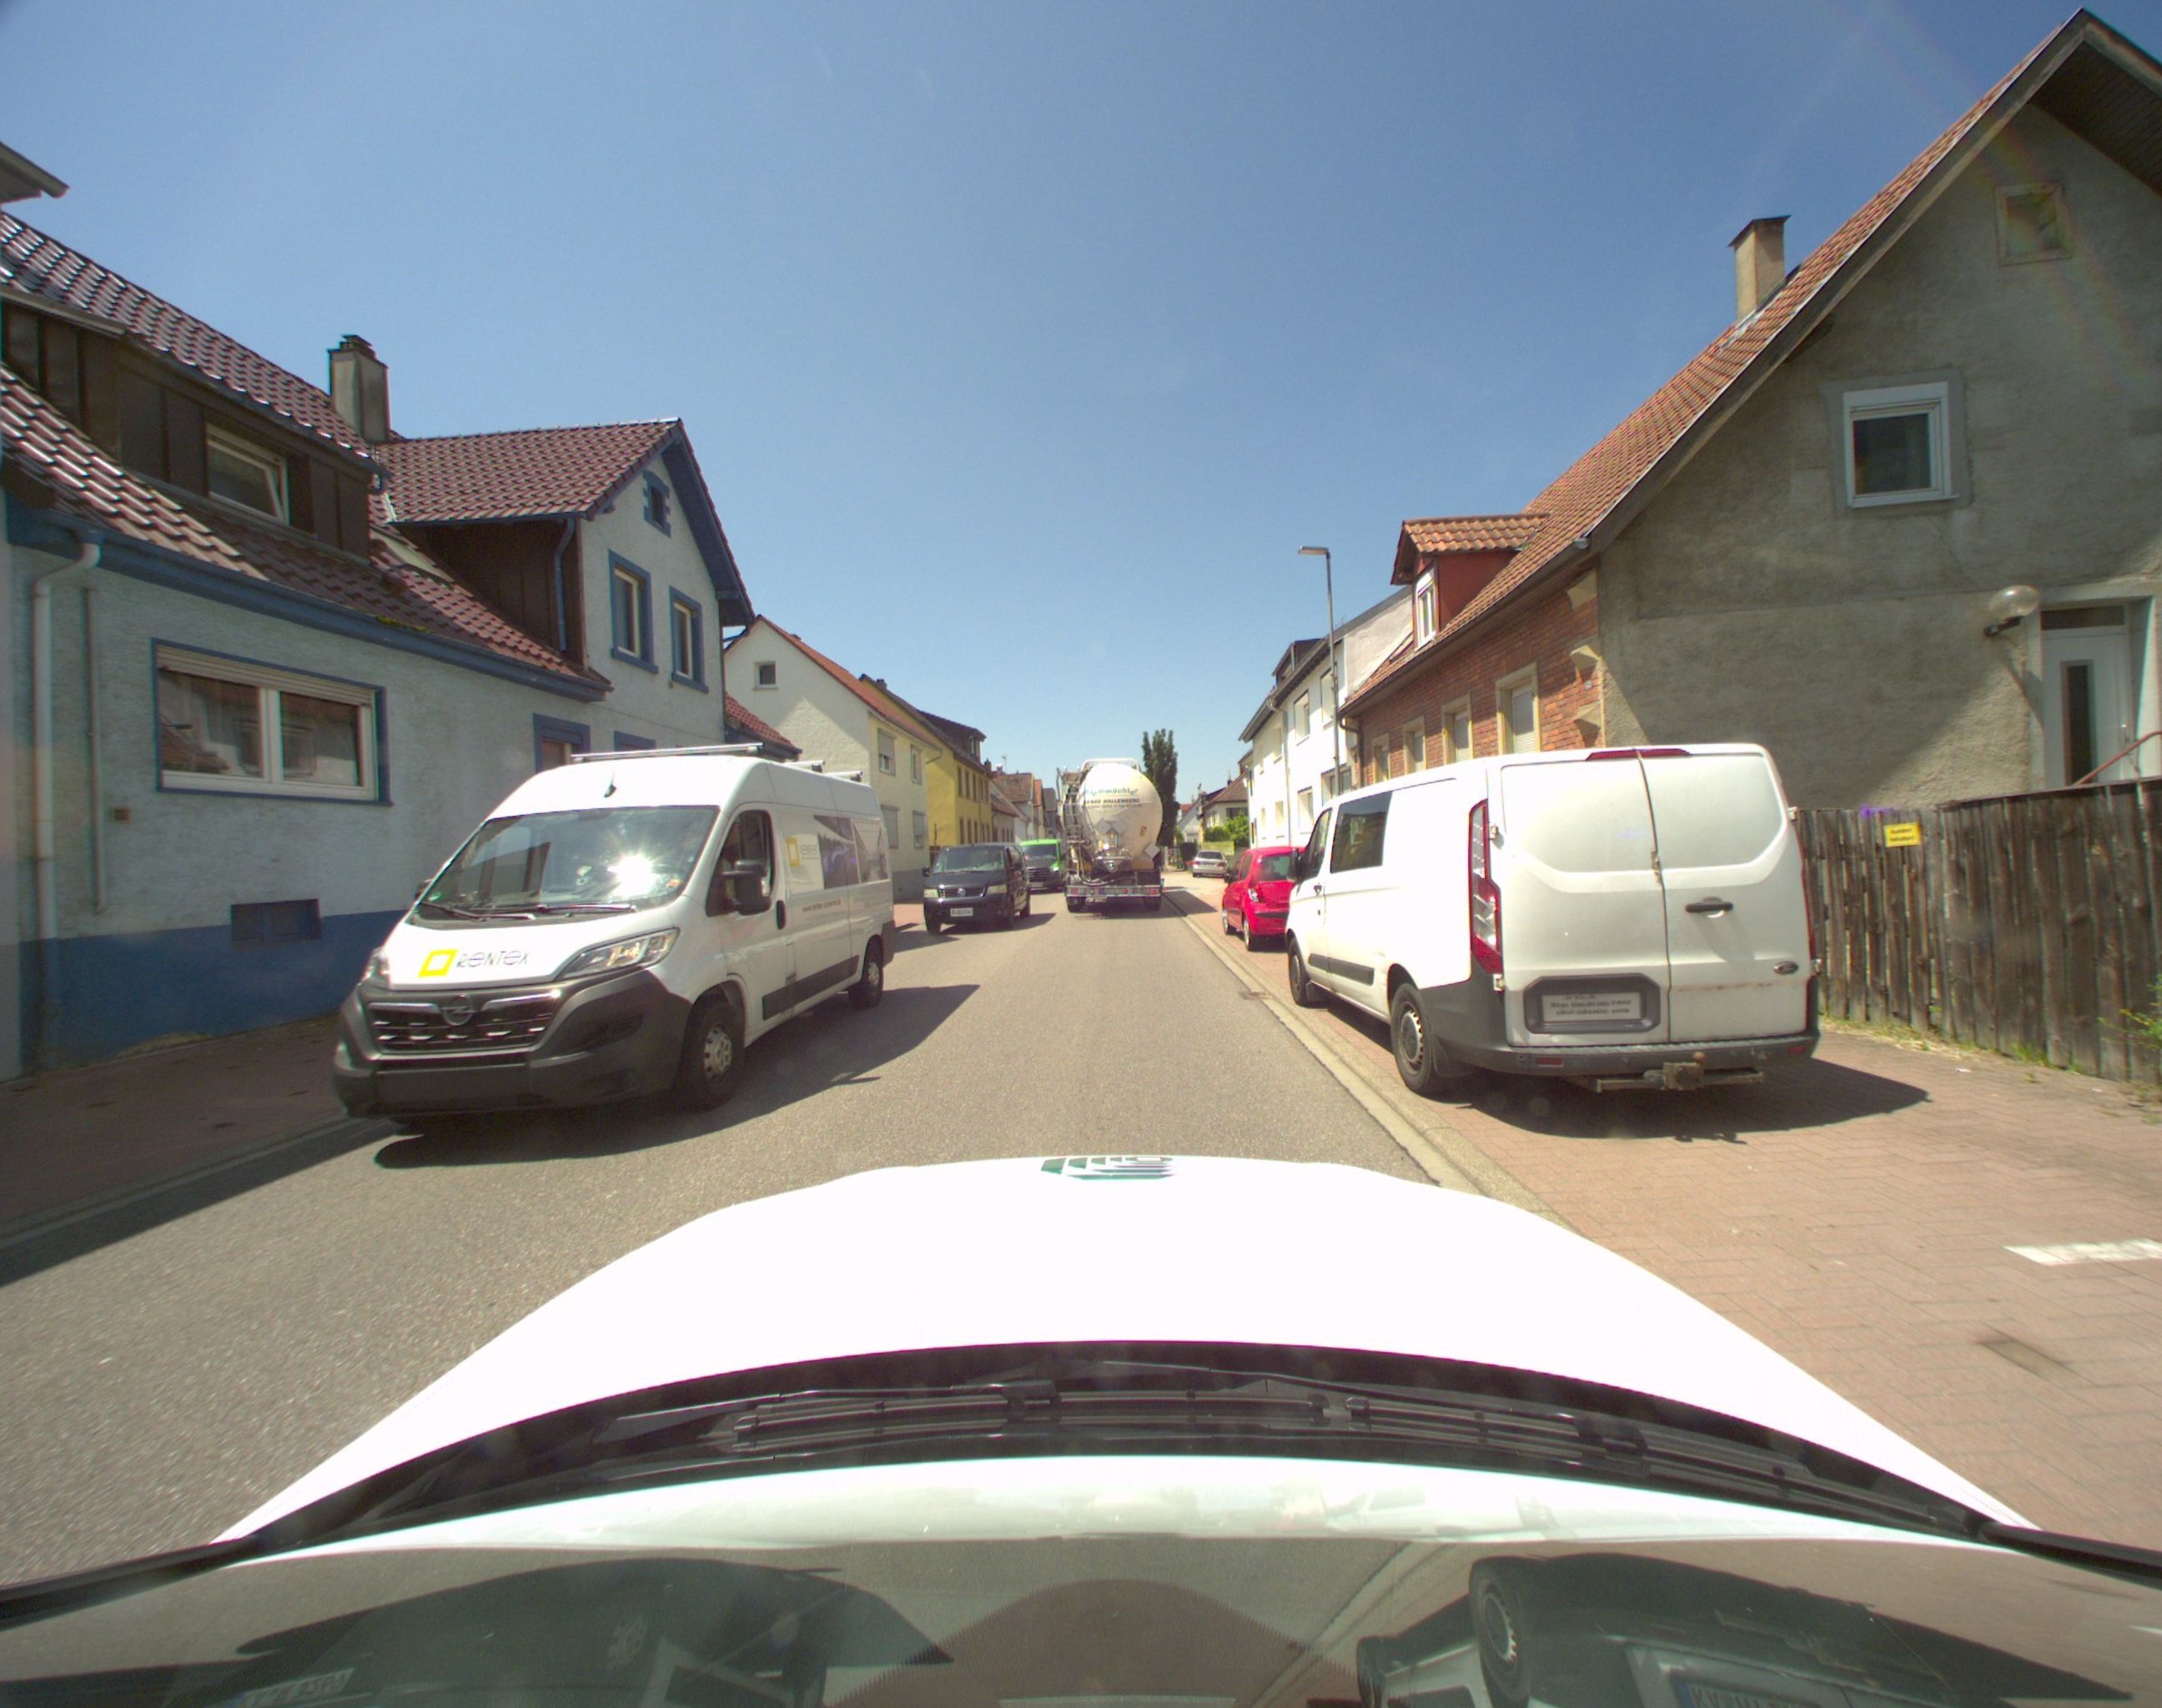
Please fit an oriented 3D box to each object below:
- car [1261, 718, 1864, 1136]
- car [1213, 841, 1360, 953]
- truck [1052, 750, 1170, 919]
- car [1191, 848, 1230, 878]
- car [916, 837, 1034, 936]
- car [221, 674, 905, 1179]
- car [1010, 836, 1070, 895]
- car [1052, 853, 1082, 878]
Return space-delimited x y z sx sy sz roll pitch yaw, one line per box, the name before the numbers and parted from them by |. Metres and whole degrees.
car | 2.911 0.354 6.428 1.939 1.970 4.786 -3 0 1
car | 3.242 0.608 13.533 1.604 1.528 3.679 -3 0 3
truck | 0.831 -0.436 23.350 2.722 3.960 8.144 -1 0 2
car | 7.042 0.436 43.906 1.803 1.462 4.900 2 1 11
car | -2.347 0.674 19.481 1.874 1.943 5.120 -3 0 2
car | -3.330 0.373 7.022 2.117 2.542 5.464 -3 0 2
car | -1.753 0.460 36.707 2.043 2.353 6.085 -3 0 2
car | -0.964 0.772 57.274 1.758 1.536 4.080 -4 0 2
